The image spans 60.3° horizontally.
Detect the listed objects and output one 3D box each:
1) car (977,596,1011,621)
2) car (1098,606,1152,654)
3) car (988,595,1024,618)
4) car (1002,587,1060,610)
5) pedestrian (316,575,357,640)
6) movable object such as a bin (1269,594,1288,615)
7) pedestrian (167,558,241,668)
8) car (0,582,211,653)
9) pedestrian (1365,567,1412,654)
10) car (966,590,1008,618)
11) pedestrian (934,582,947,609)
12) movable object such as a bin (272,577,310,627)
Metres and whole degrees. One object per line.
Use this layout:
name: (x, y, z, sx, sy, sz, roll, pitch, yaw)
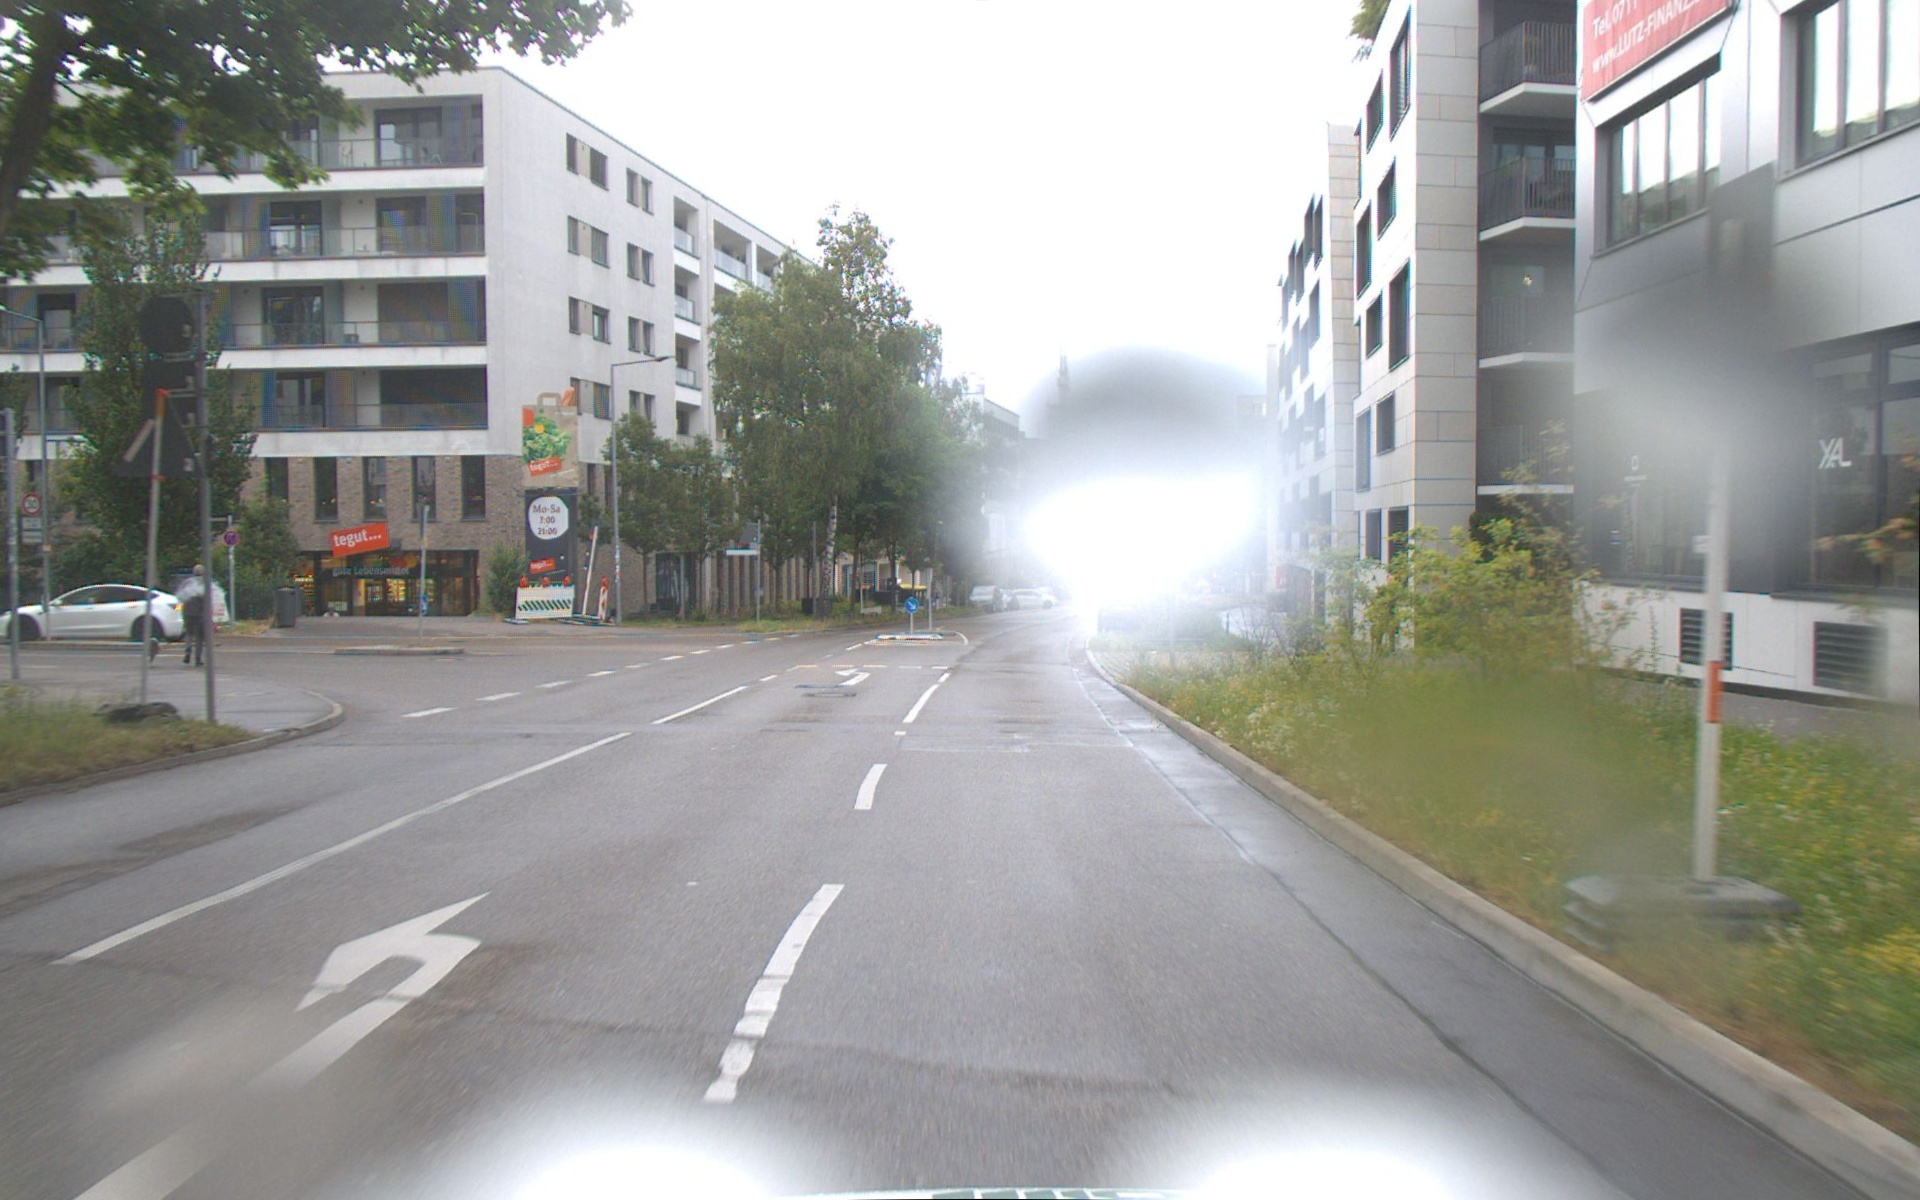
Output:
car: (2.228, 0.537, 108.081, 1.735, 1.628, 4.035, 0, 0, 9)
car: (5.572, 0.987, 55.638, 1.513, 1.504, 3.664, 0, 1, 10)
car: (3.161, 0.466, 112.724, 1.758, 1.543, 4.249, 0, -1, 11)
car: (5.147, -0.127, 119.691, 3.909, 1.604, 1.996, 0, 0, -9)
pedestrian: (-20.083, 0.231, 53.294, 0.864, 2.049, 1.118, 1, 0, 0)
movable object such as a bin: (21.380, 0.303, 111.036, 1.208, 1.343, 1.193, -1, -1, 11)
pedestrian: (-14.457, 0.252, 31.651, 1.036, 2.049, 1.096, 1, -1, -12)
car: (-21.127, 0.410, 40.419, 4.712, 1.690, 2.061, 0, 0, -6)
pedestrian: (9.110, 0.222, 35.199, 0.805, 1.827, 0.778, -1, -1, 3)
car: (1.684, 0.250, 102.845, 2.033, 1.637, 4.689, -1, 0, 8)
pedestrian: (-1.204, -0.285, 103.376, 0.693, 1.712, 0.957, 0, 0, 5)
movable object such as a bin: (-18.406, 0.051, 45.520, 0.700, 1.386, 0.822, 0, 0, 2)
